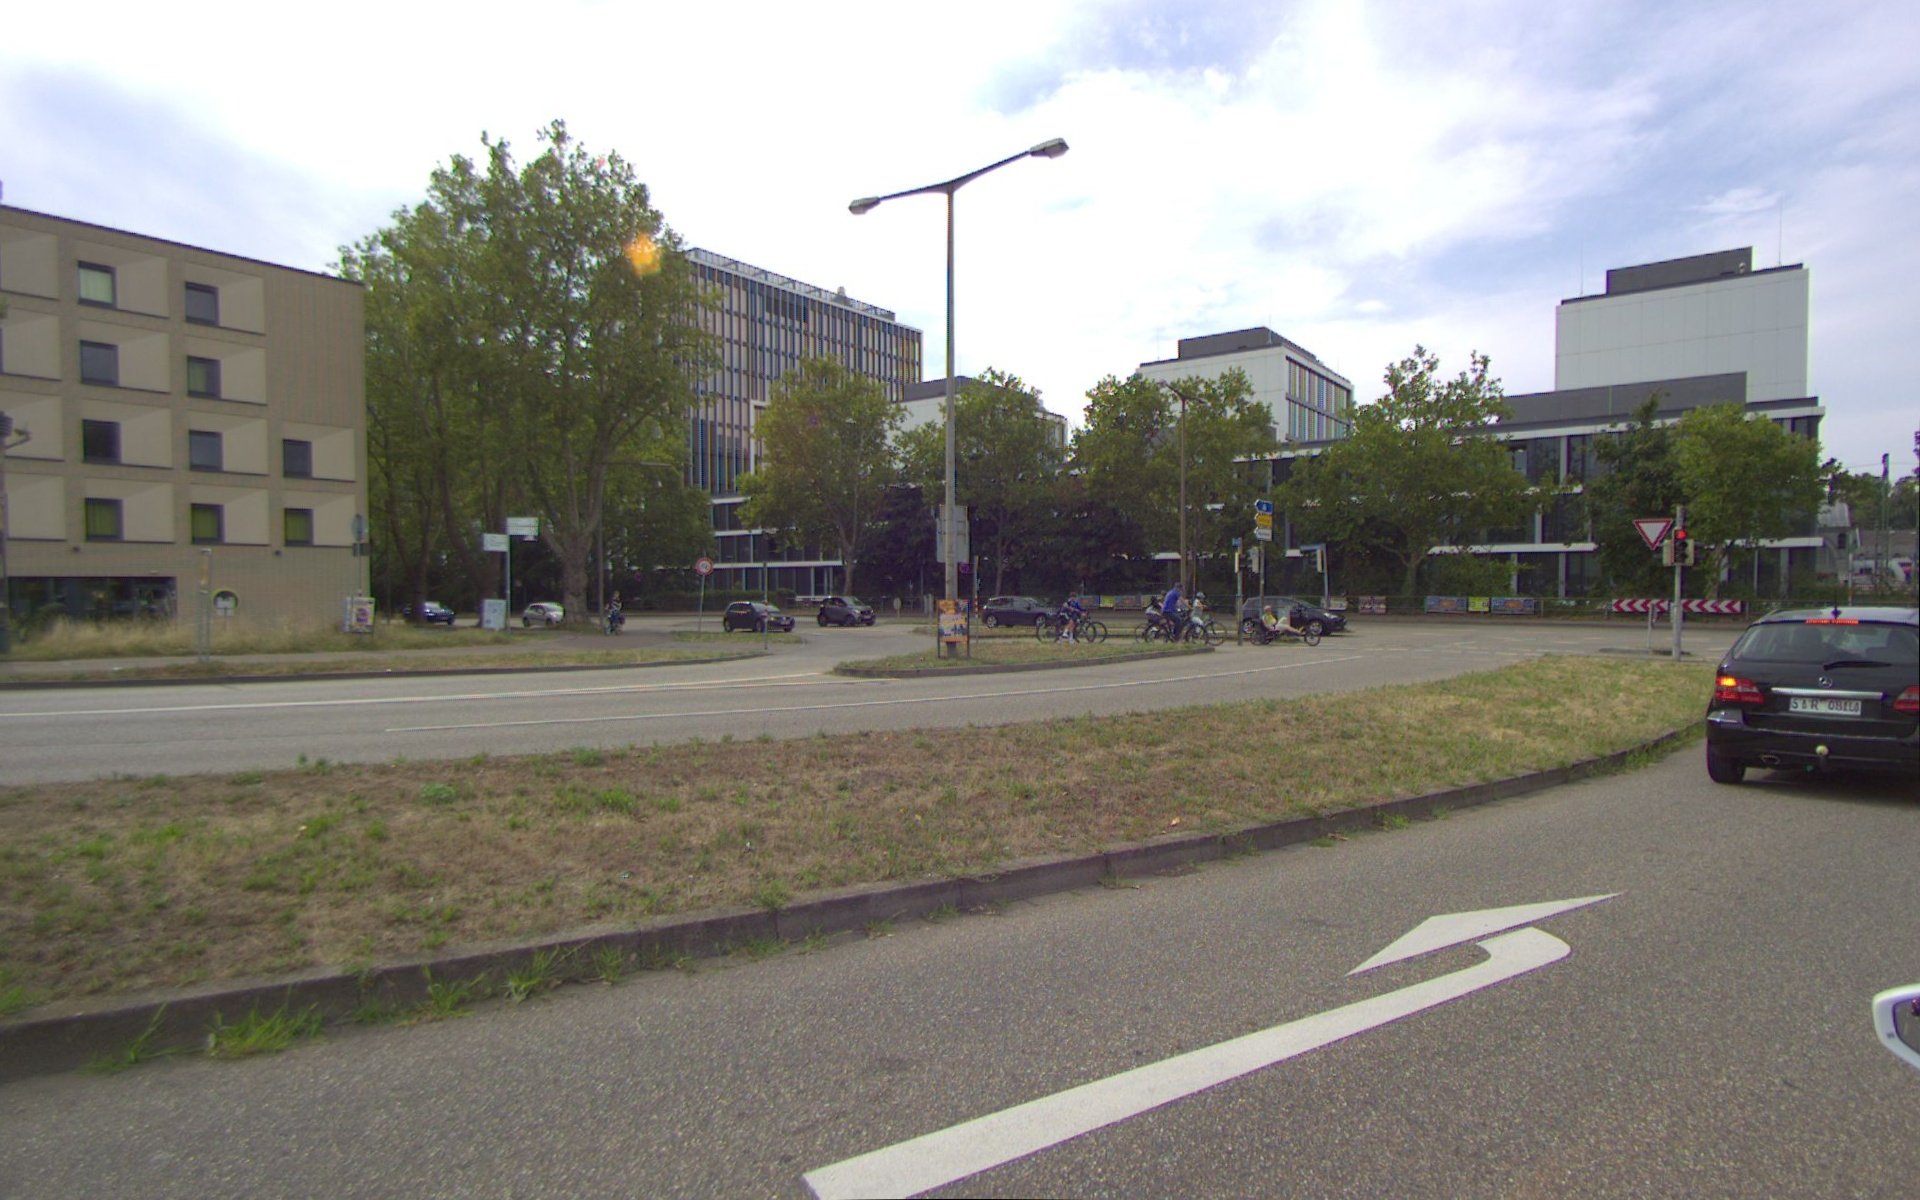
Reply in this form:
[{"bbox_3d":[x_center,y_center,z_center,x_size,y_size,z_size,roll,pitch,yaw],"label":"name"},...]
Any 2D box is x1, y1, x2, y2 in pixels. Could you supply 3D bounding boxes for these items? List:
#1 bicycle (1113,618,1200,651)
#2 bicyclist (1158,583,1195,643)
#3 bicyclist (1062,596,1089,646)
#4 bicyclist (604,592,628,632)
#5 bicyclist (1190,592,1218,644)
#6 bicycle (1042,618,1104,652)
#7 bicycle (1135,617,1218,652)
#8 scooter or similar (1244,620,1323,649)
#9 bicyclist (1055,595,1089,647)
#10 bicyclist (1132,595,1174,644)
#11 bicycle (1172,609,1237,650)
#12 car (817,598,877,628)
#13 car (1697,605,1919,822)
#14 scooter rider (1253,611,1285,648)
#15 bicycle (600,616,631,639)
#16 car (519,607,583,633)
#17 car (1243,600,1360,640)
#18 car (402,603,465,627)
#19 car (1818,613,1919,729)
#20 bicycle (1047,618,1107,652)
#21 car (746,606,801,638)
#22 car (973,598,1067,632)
[{"bbox_3d":[5.980,1.041,30.622,2.549,0.902,0.702,0,1,36],"label":"bicycle"},{"bbox_3d":[6.178,0.356,28.665,0.866,1.678,0.811,0,0,0],"label":"bicyclist"},{"bbox_3d":[3.630,0.653,31.513,0.824,1.550,0.629,0,1,8],"label":"bicyclist"},{"bbox_3d":[-14.330,0.511,41.880,0.728,1.636,0.920,0,0,-5],"label":"bicyclist"},{"bbox_3d":[7.558,0.539,31.092,0.767,1.602,0.654,0,1,23],"label":"bicyclist"},{"bbox_3d":[3.445,1.063,30.711,1.869,1.027,0.629,0,1,5],"label":"bicycle"},{"bbox_3d":[6.159,0.987,28.657,2.191,0.965,0.811,0,0,0],"label":"bicycle"},{"bbox_3d":[10.229,1.076,31.740,2.340,0.861,0.808,0,1,22],"label":"scooter or similar"},{"bbox_3d":[3.420,0.624,30.707,0.999,1.560,0.629,0,1,6],"label":"bicyclist"},{"bbox_3d":[5.894,0.595,30.691,1.099,1.456,0.645,0,1,36],"label":"bicyclist"},{"bbox_3d":[7.574,0.889,31.100,1.871,1.226,0.642,0,1,23],"label":"bicycle"},{"bbox_3d":[-5.692,0.650,50.437,2.675,1.441,1.494,1,0,35],"label":"car"},{"bbox_3d":[8.551,0.895,9.559,4.006,1.596,1.741,-1,2,-43],"label":"car"},{"bbox_3d":[9.824,0.920,31.896,0.899,1.152,0.808,0,1,22],"label":"scooter rider"},{"bbox_3d":[-14.339,1.129,41.843,0.727,0.921,2.117,0,0,-5],"label":"bicycle"},{"bbox_3d":[-24.376,1.160,59.818,3.811,1.464,1.726,1,-1,34],"label":"car"},{"bbox_3d":[12.809,0.724,37.674,3.994,1.386,1.701,0,0,26],"label":"car"},{"bbox_3d":[-36.384,1.012,69.409,4.387,1.581,1.945,0,-1,33],"label":"car"},{"bbox_3d":[13.950,0.957,14.866,1.797,1.433,4.753,1,1,40],"label":"car"},{"bbox_3d":[3.677,1.096,31.518,1.868,1.027,0.629,0,1,8],"label":"bicycle"},{"bbox_3d":[-8.895,1.004,47.617,1.773,1.437,3.978,1,0,-23],"label":"car"},{"bbox_3d":[2.692,0.644,45.464,4.006,1.470,1.696,1,0,38],"label":"car"}]
